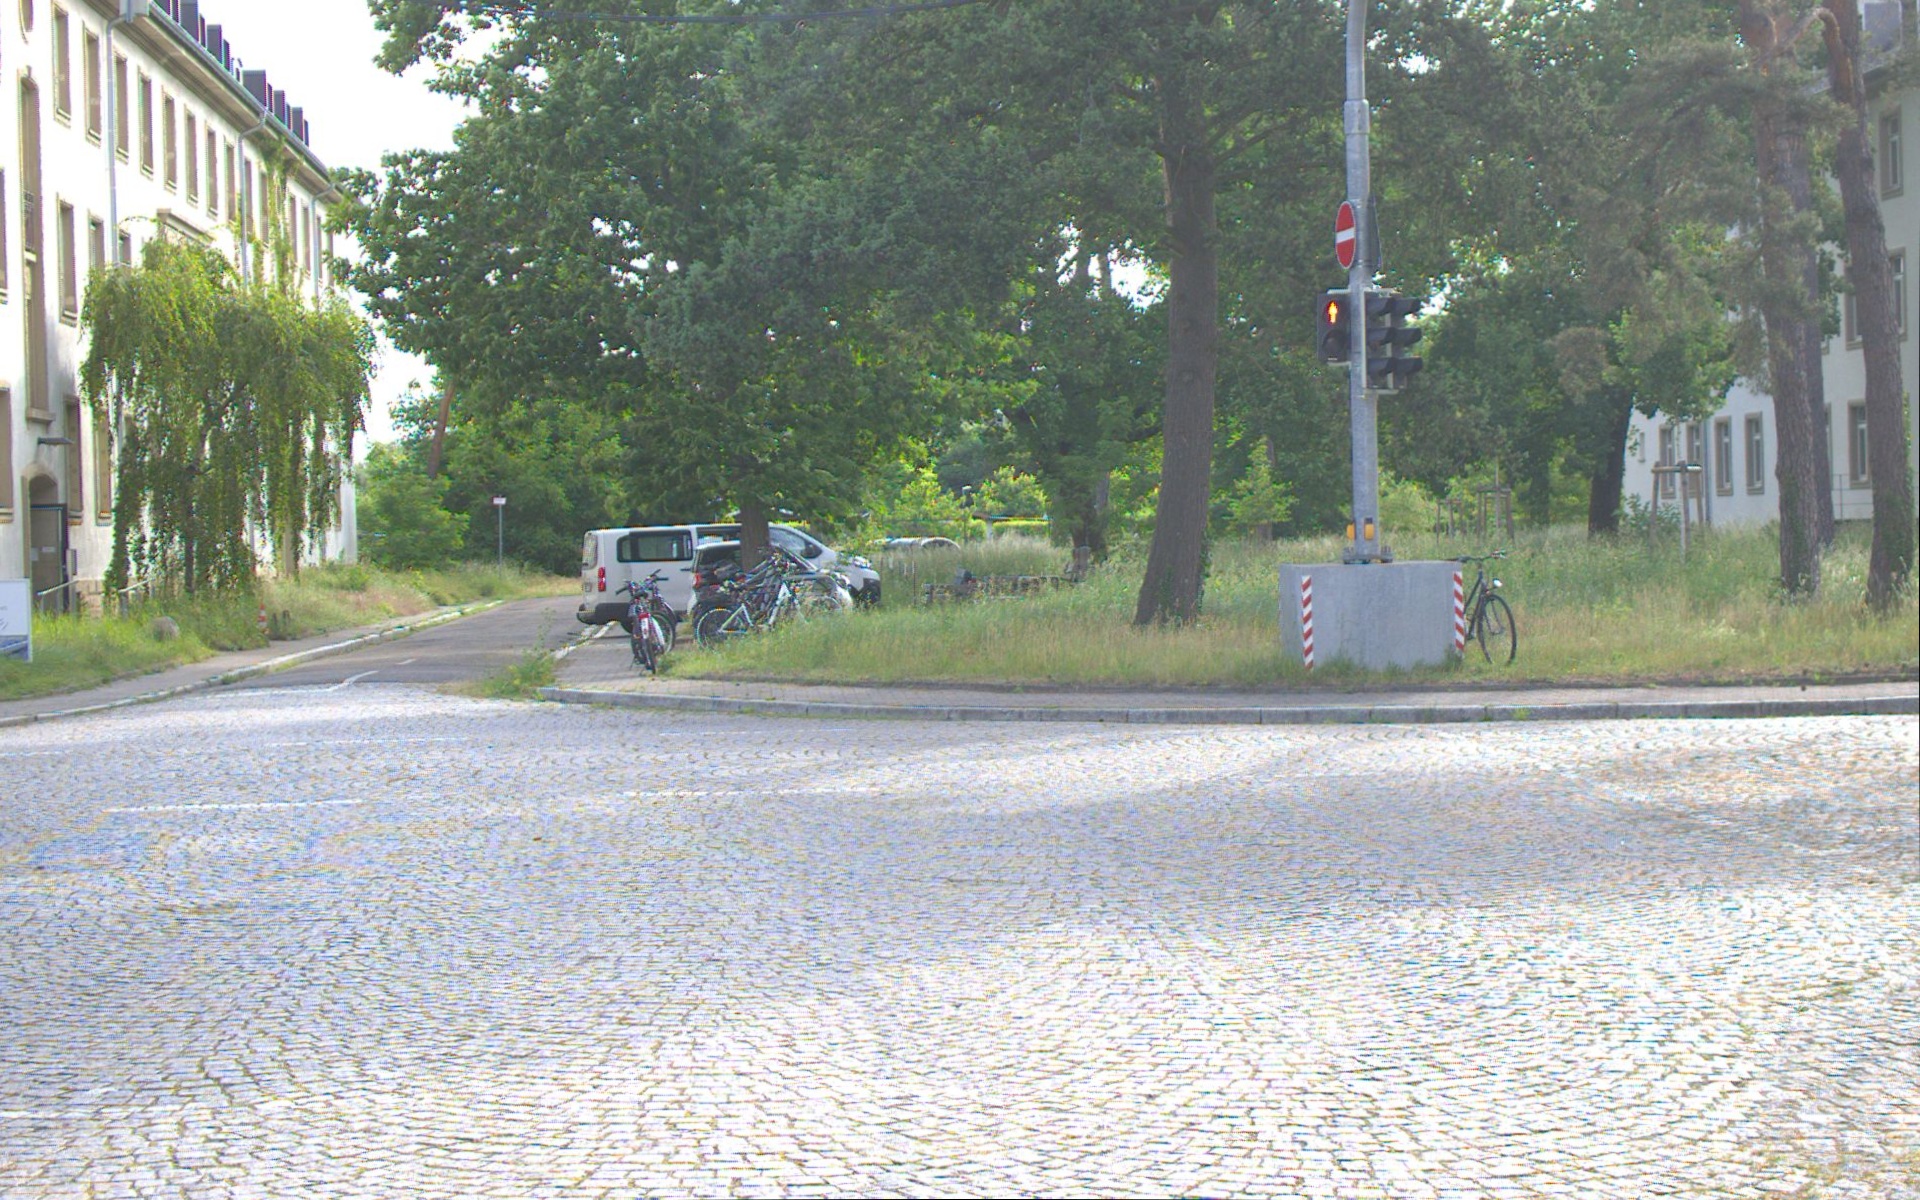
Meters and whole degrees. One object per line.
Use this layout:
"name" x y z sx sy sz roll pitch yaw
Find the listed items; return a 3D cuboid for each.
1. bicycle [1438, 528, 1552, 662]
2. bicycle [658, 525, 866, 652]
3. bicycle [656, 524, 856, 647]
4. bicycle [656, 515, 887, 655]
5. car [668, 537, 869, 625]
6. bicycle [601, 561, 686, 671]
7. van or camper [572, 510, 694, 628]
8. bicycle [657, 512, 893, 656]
"bicycle" 4.833 -0.061 31.211 0.724 1.165 2.737 0 1 3
"bicycle" -2.708 -0.169 47.353 2.775 1.688 1.120 1 1 0
"bicycle" -2.883 -0.204 48.683 2.775 1.688 1.120 1 1 -2
"bicycle" -2.413 -0.204 43.797 2.775 1.688 1.120 -2 1 -11
"car" -3.191 -0.330 56.975 3.137 1.349 1.620 -2 1 -9
"bicycle" -3.506 0.155 38.252 0.725 1.104 2.462 -6 1 -2
"van or camper" -5.786 -0.585 60.959 1.993 1.942 6.053 -2 1 -5
"bicycle" -2.307 -0.211 42.606 2.775 1.688 1.120 -2 1 -9
